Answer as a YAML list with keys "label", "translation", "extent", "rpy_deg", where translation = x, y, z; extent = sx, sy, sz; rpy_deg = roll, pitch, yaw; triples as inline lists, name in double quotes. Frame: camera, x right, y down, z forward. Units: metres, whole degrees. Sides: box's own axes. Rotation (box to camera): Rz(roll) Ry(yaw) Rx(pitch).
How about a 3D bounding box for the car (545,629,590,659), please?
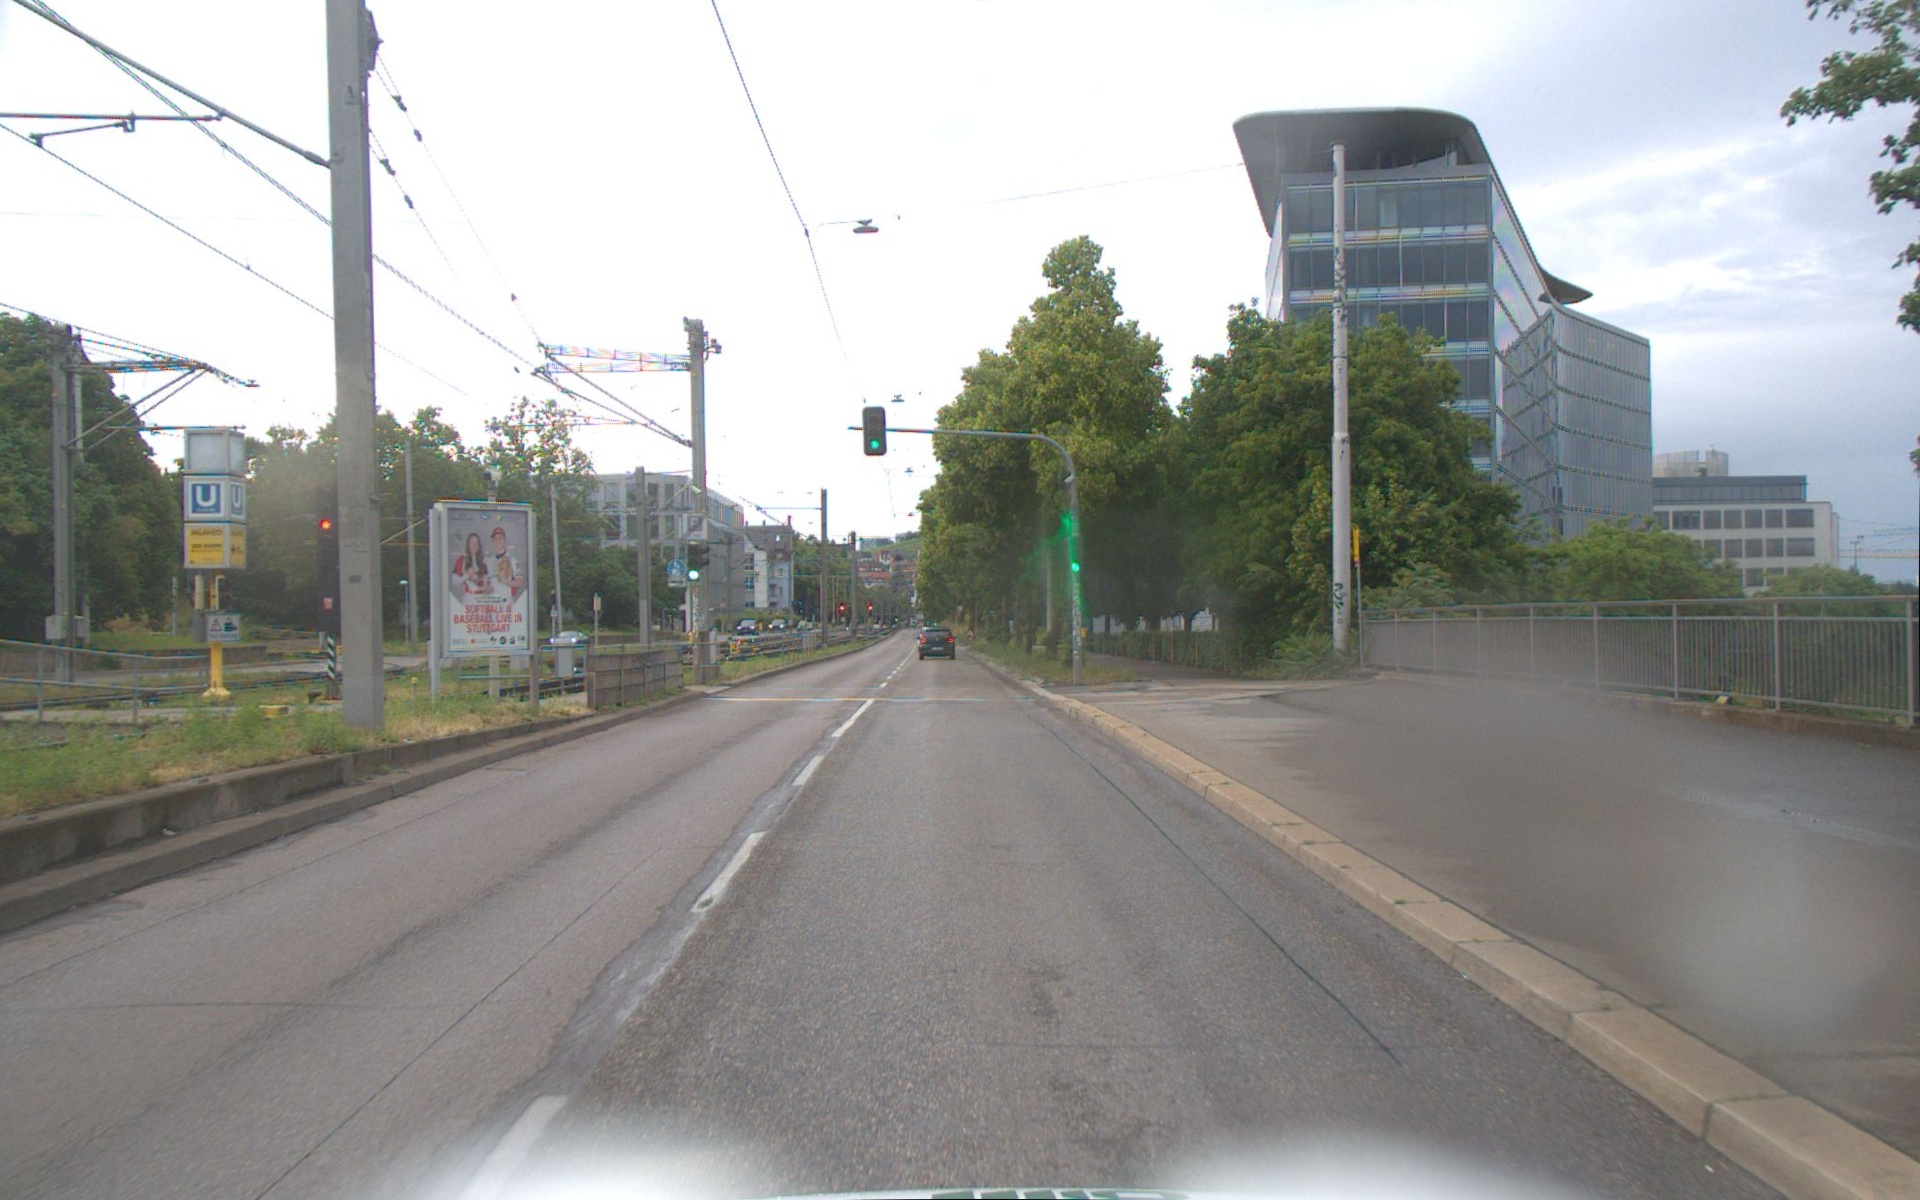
- label: "car"
  translation: [-25.725, 2.870, 108.609]
  extent: [1.811, 1.660, 3.814]
  rpy_deg: [2, 2, 3]

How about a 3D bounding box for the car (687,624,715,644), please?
- label: "car"
  translation: [-24.173, 3.154, 154.561]
  extent: [1.811, 1.660, 3.611]
  rpy_deg: [2, 2, 3]

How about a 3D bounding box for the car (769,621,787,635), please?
- label: "car"
  translation: [-23.243, 3.557, 211.331]
  extent: [1.618, 1.660, 3.611]
  rpy_deg: [2, 2, 3]

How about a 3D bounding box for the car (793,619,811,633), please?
- label: "car"
  translation: [-20.790, 3.417, 217.554]
  extent: [1.811, 1.660, 3.611]
  rpy_deg: [2, 2, 3]

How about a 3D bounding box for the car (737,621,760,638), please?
- label: "car"
  translation: [-23.599, 3.305, 184.674]
  extent: [1.811, 1.660, 3.611]
  rpy_deg: [2, 2, 3]

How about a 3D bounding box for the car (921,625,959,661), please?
- label: "car"
  translation: [-0.930, 1.932, 75.371]
  extent: [1.692, 1.567, 3.999]
  rpy_deg: [0, 0, -2]
